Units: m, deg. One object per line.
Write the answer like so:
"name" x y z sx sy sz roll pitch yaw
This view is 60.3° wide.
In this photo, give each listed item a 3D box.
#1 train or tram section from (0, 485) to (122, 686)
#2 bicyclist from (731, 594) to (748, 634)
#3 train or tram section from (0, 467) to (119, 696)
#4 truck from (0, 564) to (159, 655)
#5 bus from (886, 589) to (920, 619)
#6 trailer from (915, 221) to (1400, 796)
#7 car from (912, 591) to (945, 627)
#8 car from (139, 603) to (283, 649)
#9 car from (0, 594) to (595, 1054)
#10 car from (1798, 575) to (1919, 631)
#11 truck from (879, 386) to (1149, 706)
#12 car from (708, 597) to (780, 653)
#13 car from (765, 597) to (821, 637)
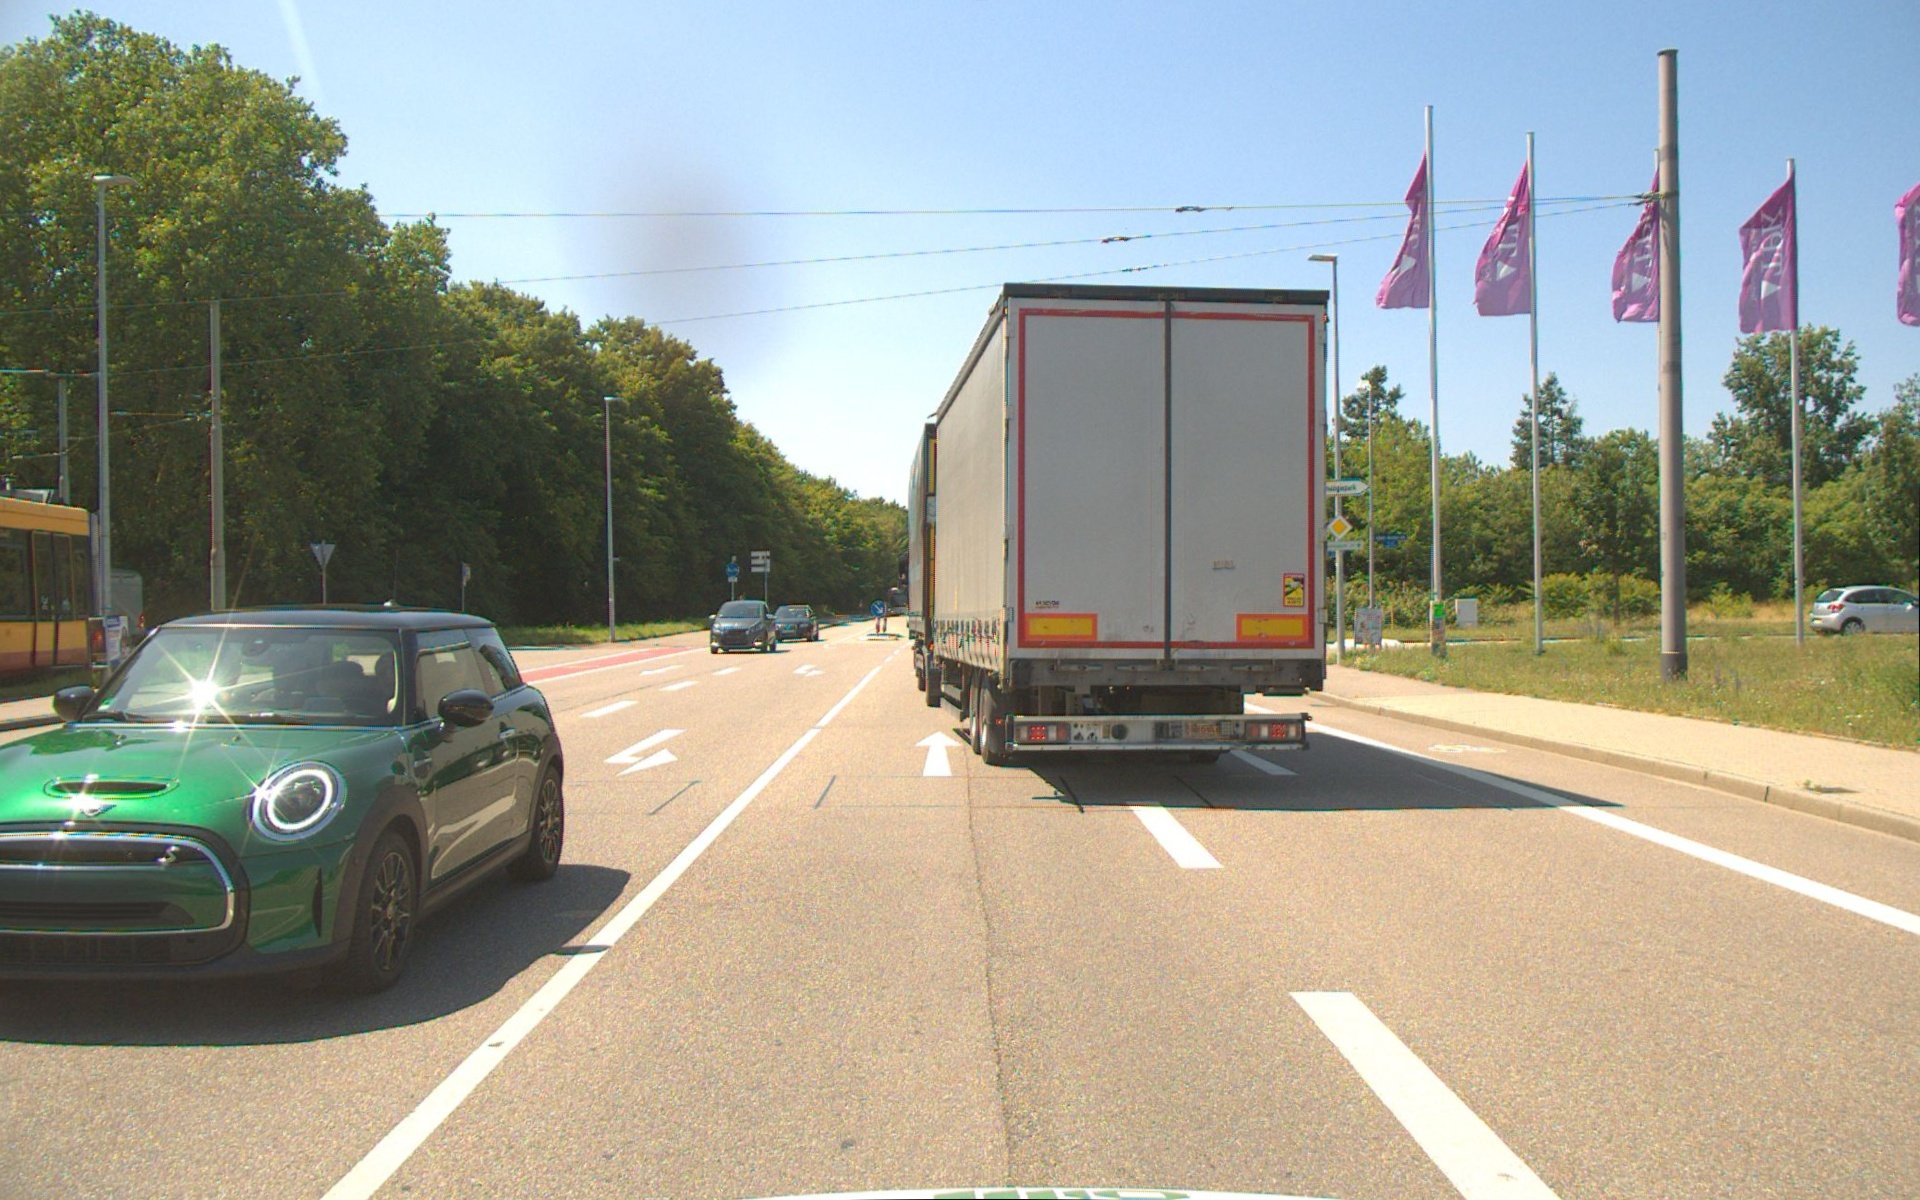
"train or tram section" -20.772 -0.228 36.507 2.988 3.824 11.489 -2 0 -32
"bicyclist" -9.601 0.614 72.010 0.651 1.735 0.769 1 0 0
"train or tram section" -17.282 -0.252 25.754 2.958 3.824 12.975 -2 0 -6
"truck" -31.936 0.382 57.493 7.161 2.961 2.570 -2 -1 10
"bus" -6.358 0.407 185.754 2.692 3.098 11.943 -2 1 3
"trailer" 1.331 -0.668 16.951 3.017 4.141 9.799 0 0 -5
"car" -1.740 0.494 92.389 1.621 1.940 4.001 -1 0 1
"car" -25.339 0.889 56.030 4.207 1.442 1.668 -1 -1 8
"car" -2.922 0.721 7.373 1.687 1.488 3.990 0 0 0
"car" 26.533 0.096 48.042 3.538 1.559 1.707 1 0 9
"truck" 0.525 -0.704 25.523 3.018 4.141 7.947 0 0 -7
"car" -6.204 0.701 47.795 1.589 1.481 3.501 -2 0 0
"car" -6.625 0.659 65.943 1.708 1.430 4.441 -1 1 1
